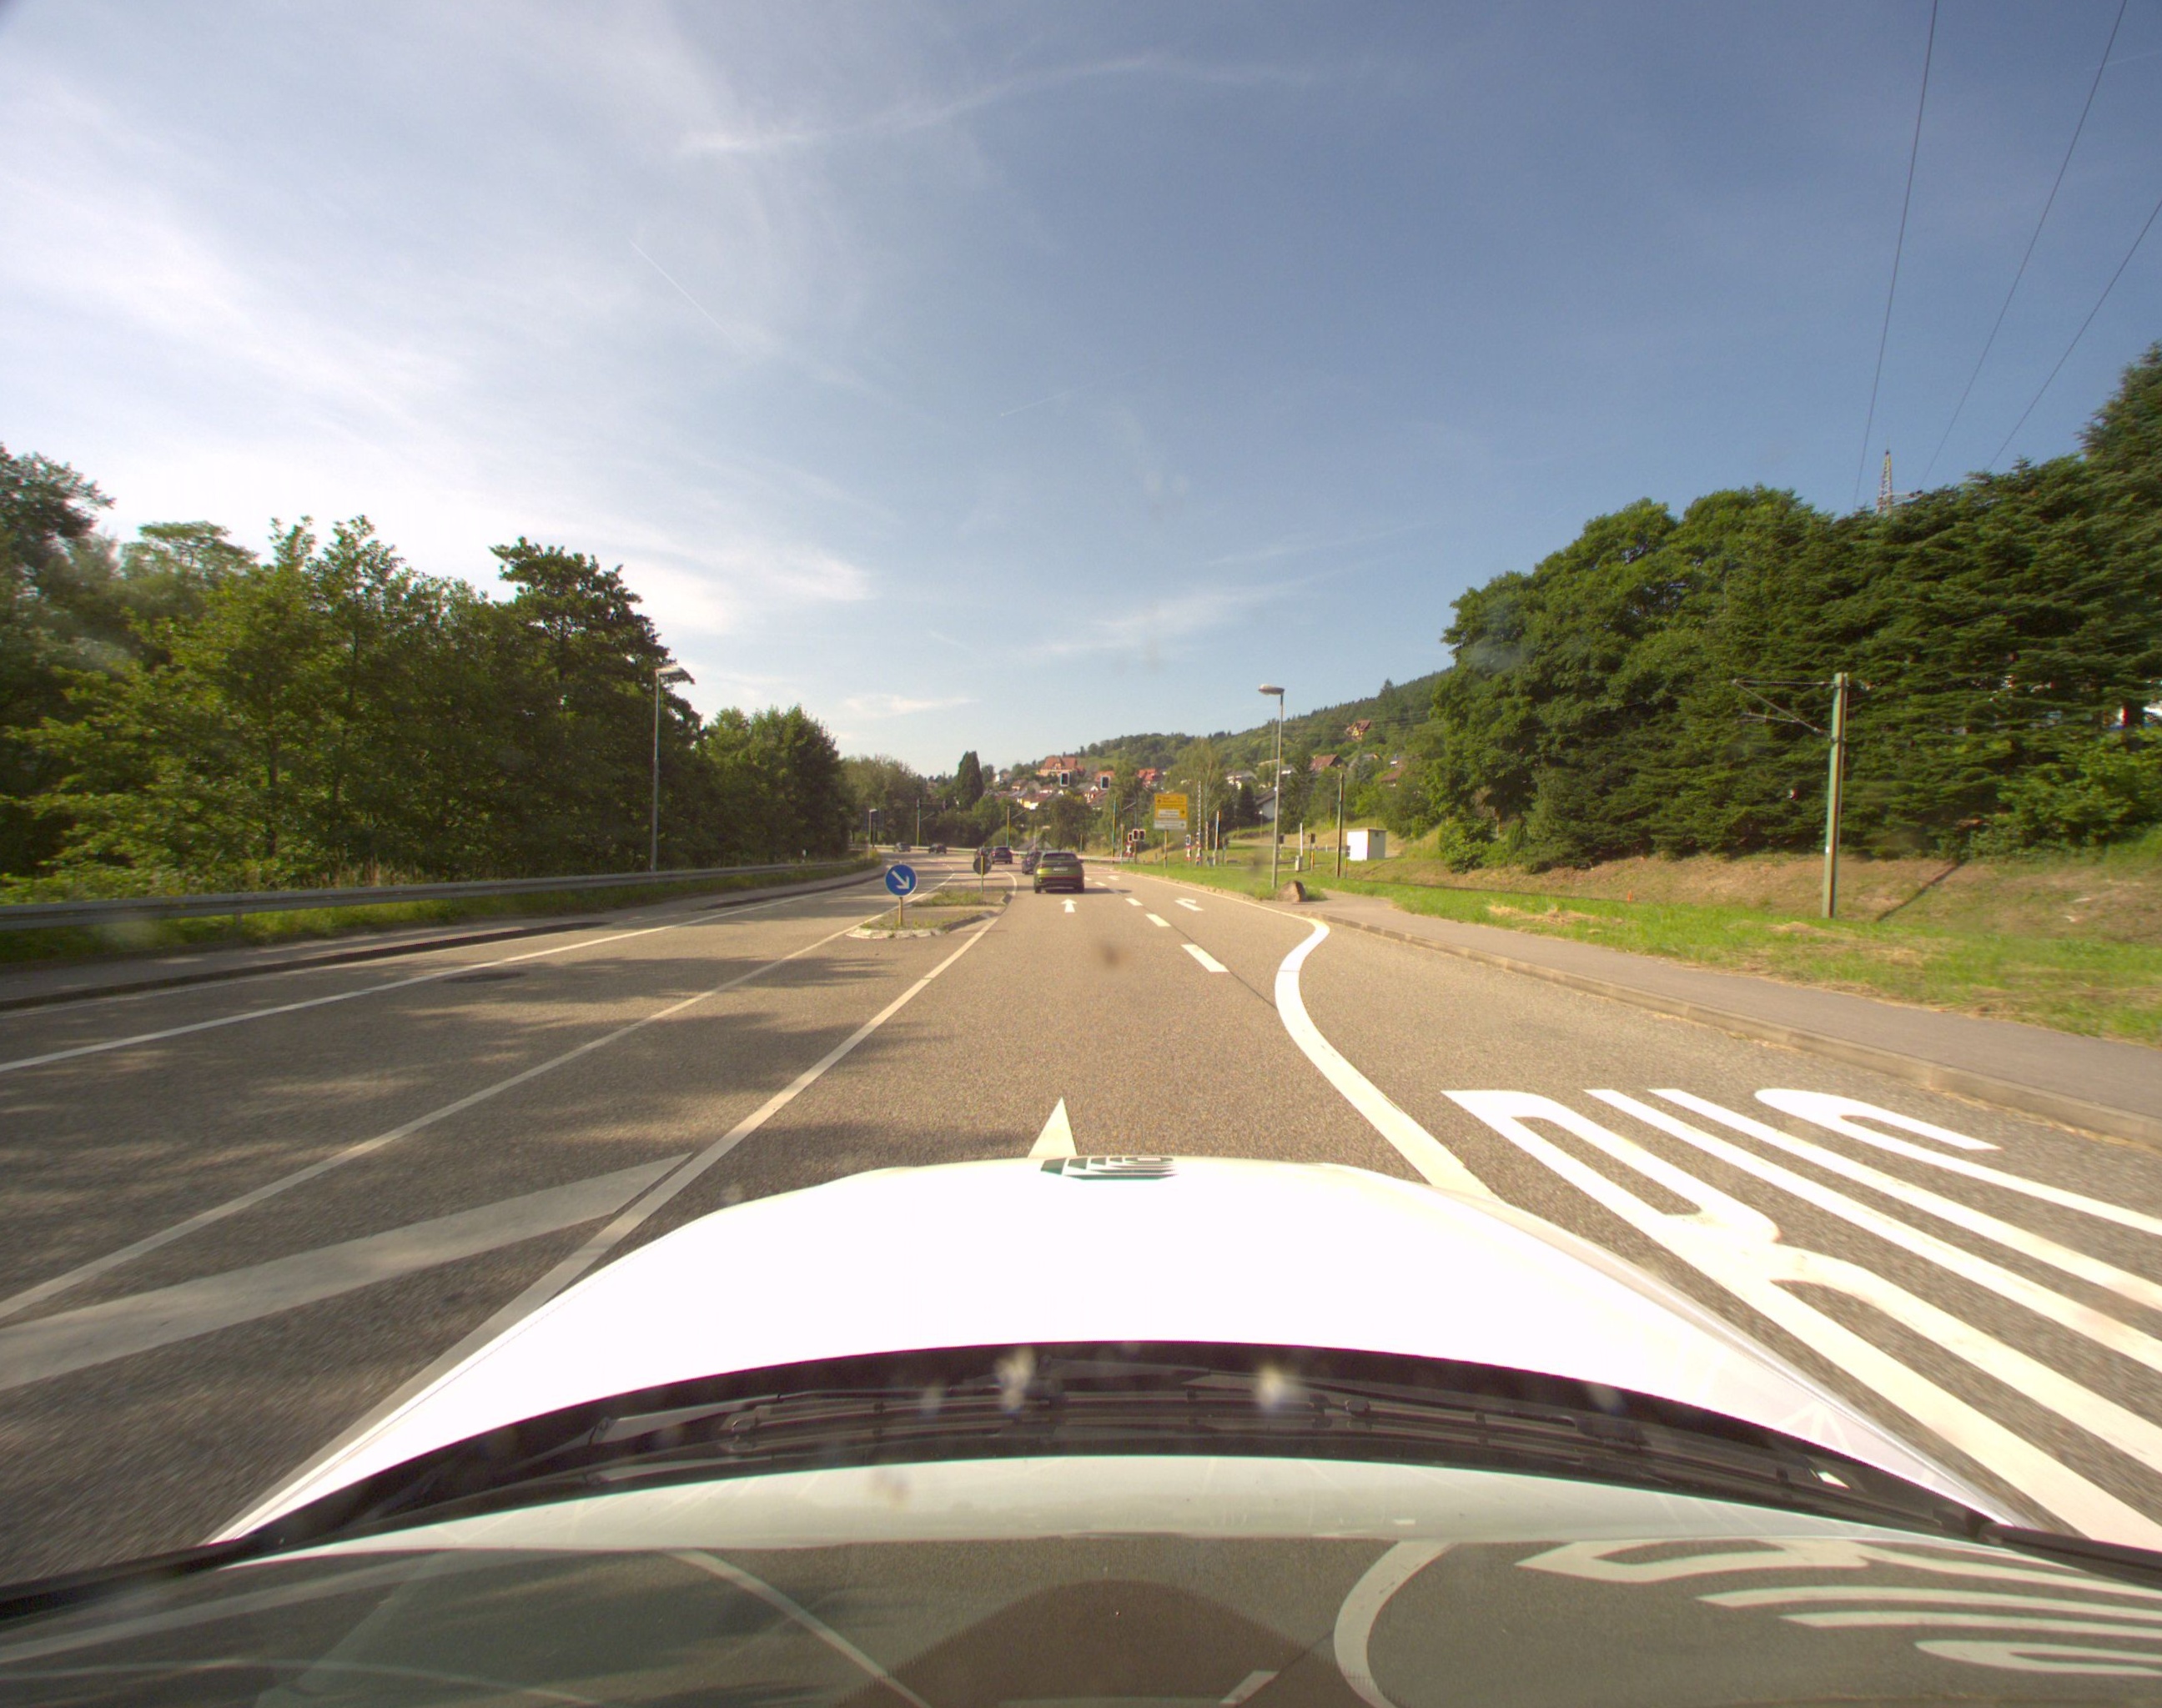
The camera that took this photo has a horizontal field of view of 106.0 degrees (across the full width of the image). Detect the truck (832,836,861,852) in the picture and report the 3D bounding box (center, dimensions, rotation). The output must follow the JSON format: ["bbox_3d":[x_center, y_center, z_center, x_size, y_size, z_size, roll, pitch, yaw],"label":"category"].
[{"bbox_3d":[-45.563,-1.953,158.099,6.033,3.084,2.736,1,1,45],"label":"truck"}]

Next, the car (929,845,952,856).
[{"bbox_3d":[-21.797,-0.552,126.213,2.007,1.745,3.959,0,0,-33],"label":"car"}]

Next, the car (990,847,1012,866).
[{"bbox_3d":[-7.332,0.205,74.662,1.878,1.686,3.990,-1,0,-7],"label":"car"}]

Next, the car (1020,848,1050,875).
[{"bbox_3d":[-2.813,0.405,49.278,1.664,1.559,3.993,-1,0,-5],"label":"car"}]

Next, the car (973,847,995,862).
[{"bbox_3d":[-10.521,0.046,88.160,1.852,1.527,3.643,-1,1,-15],"label":"car"}]

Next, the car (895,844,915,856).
[{"bbox_3d":[-29.403,-0.676,135.754,2.077,1.811,3.960,-1,1,-32],"label":"car"}]

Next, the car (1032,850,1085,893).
[{"bbox_3d":[-0.874,0.582,29.427,1.712,1.455,3.993,0,0,-5],"label":"car"}]
